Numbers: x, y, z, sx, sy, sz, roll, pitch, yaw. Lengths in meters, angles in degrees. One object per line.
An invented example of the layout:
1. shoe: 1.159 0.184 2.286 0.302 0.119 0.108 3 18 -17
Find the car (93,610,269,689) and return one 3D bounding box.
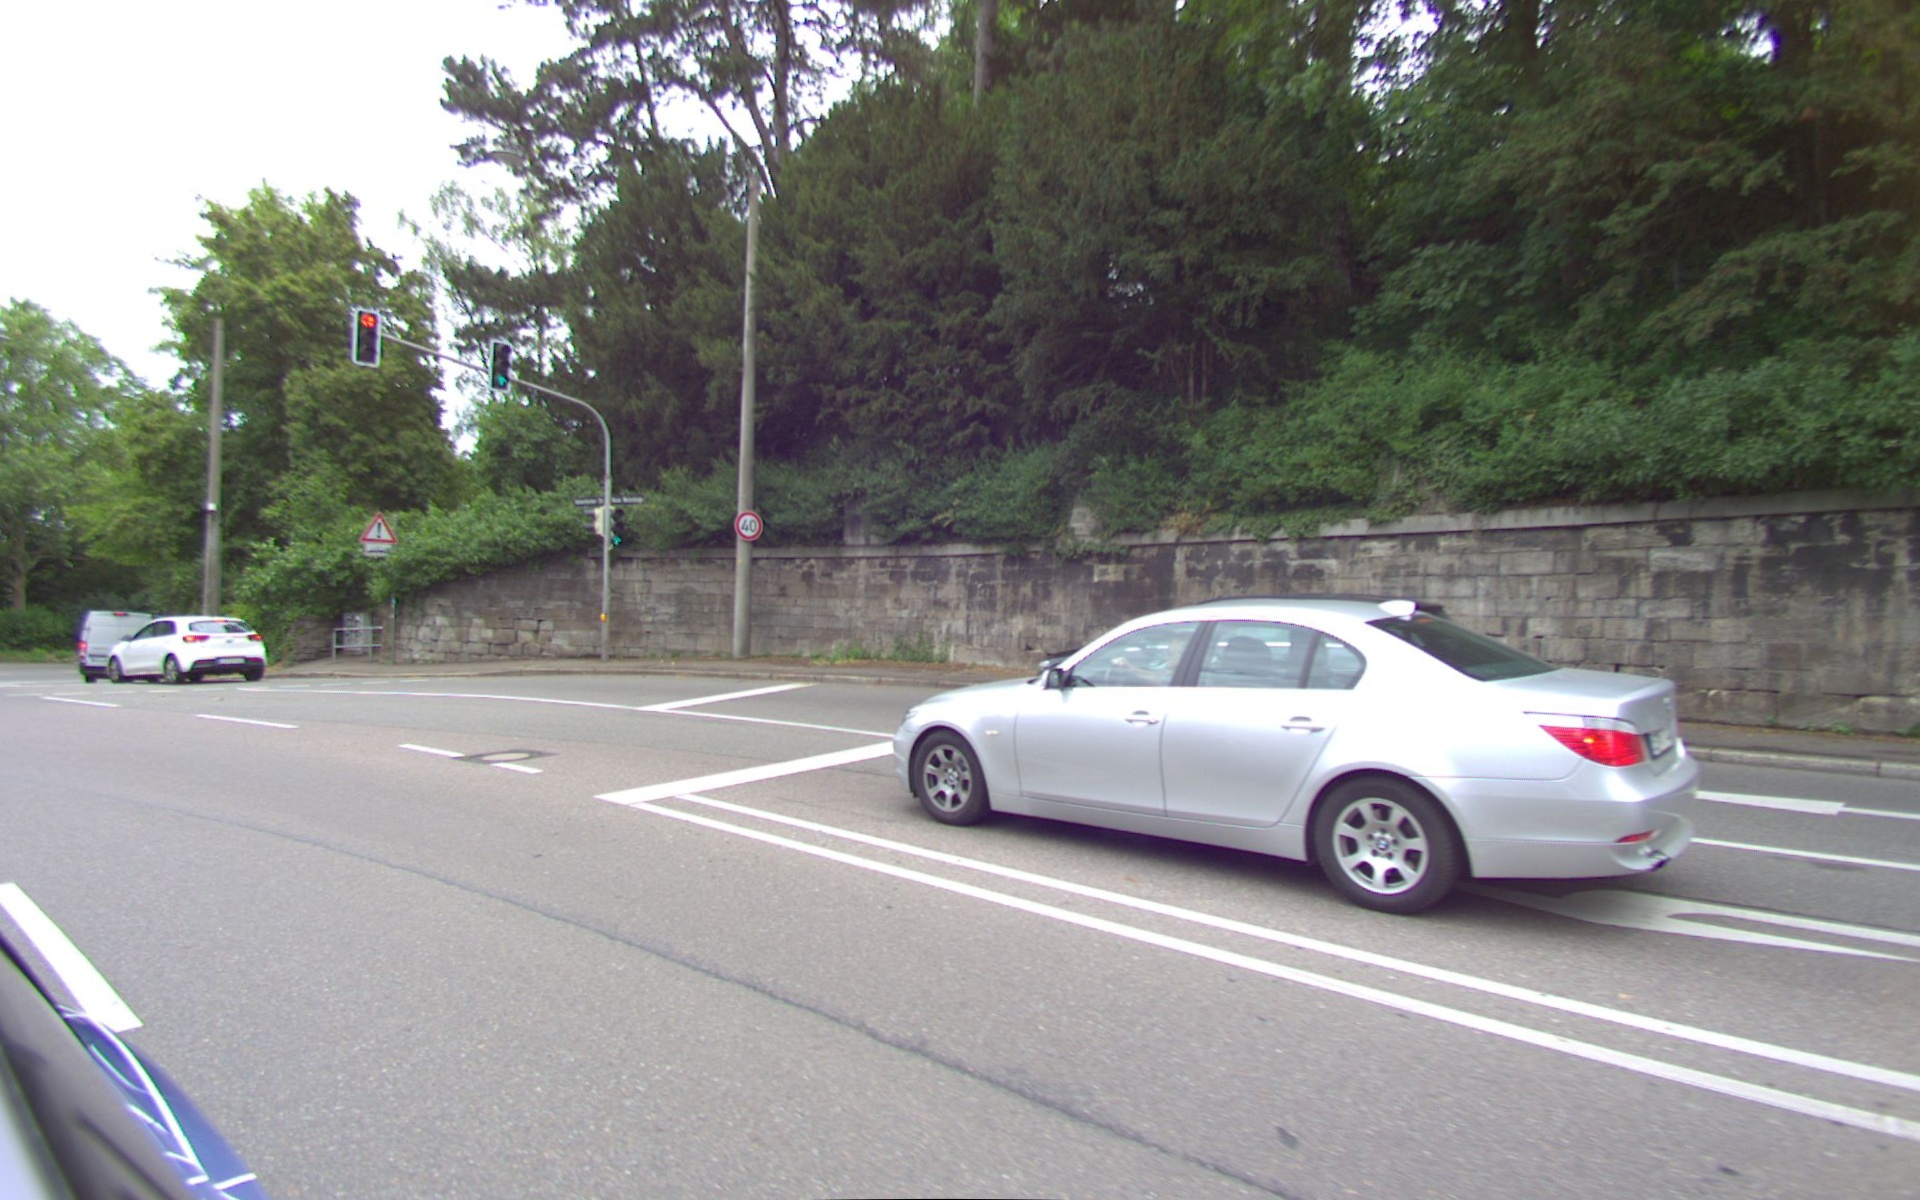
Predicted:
1. car: -17.384 1.071 22.559 4.096 1.568 1.625 -1 0 29

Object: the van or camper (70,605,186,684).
1. van or camper: -29.887 1.695 36.556 2.171 2.566 5.374 1 -6 -28

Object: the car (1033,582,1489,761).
1. car: 2.911 0.637 10.222 4.044 1.463 1.716 -2 -1 38

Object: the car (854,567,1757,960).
1. car: 1.690 0.698 6.222 4.878 1.481 1.972 -2 -3 43
